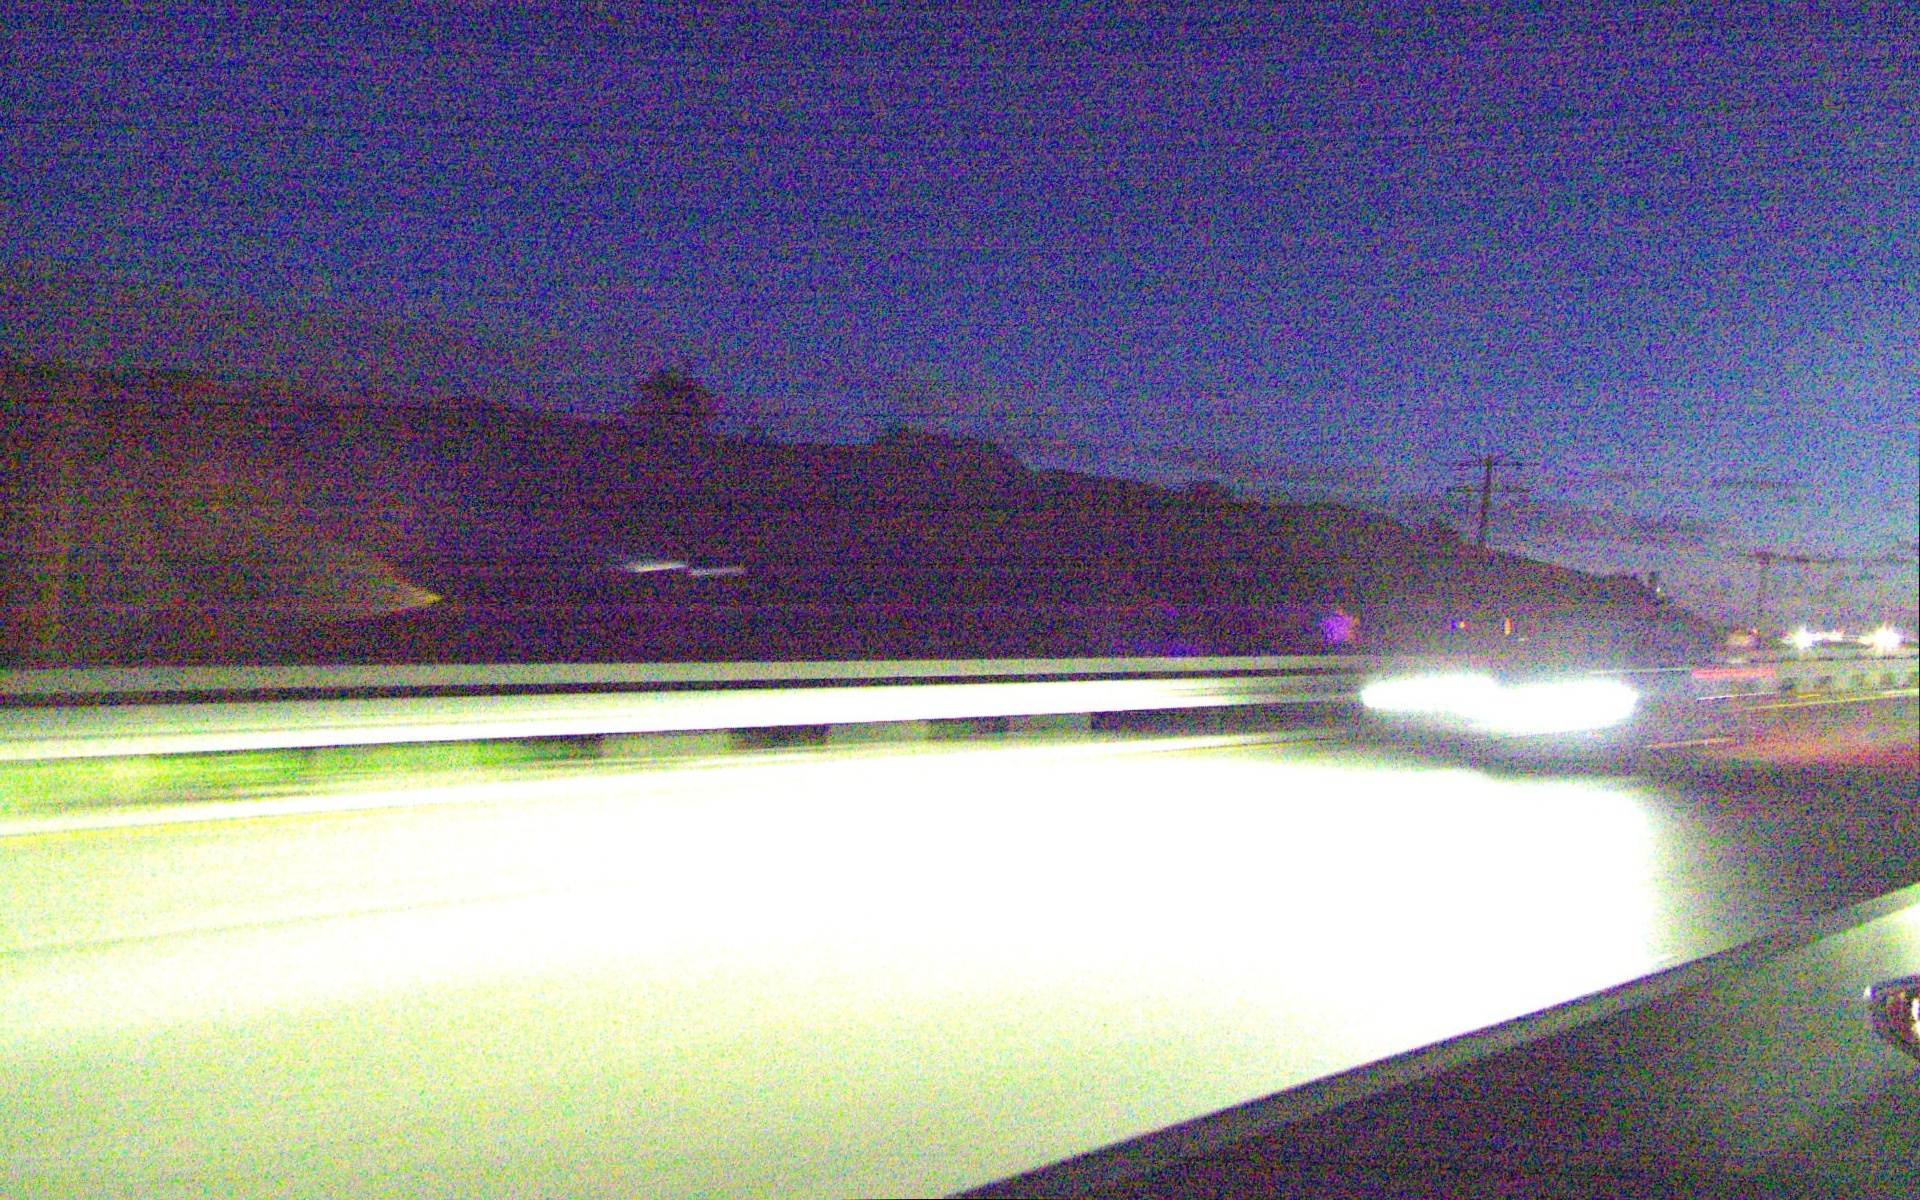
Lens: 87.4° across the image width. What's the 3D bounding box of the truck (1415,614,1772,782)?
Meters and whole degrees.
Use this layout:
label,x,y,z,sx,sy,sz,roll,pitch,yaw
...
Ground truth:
label,x,y,z,sx,sy,sz,roll,pitch,yaw
truck,6.978,0.977,10.955,4.107,1.489,1.674,3,-1,-32
